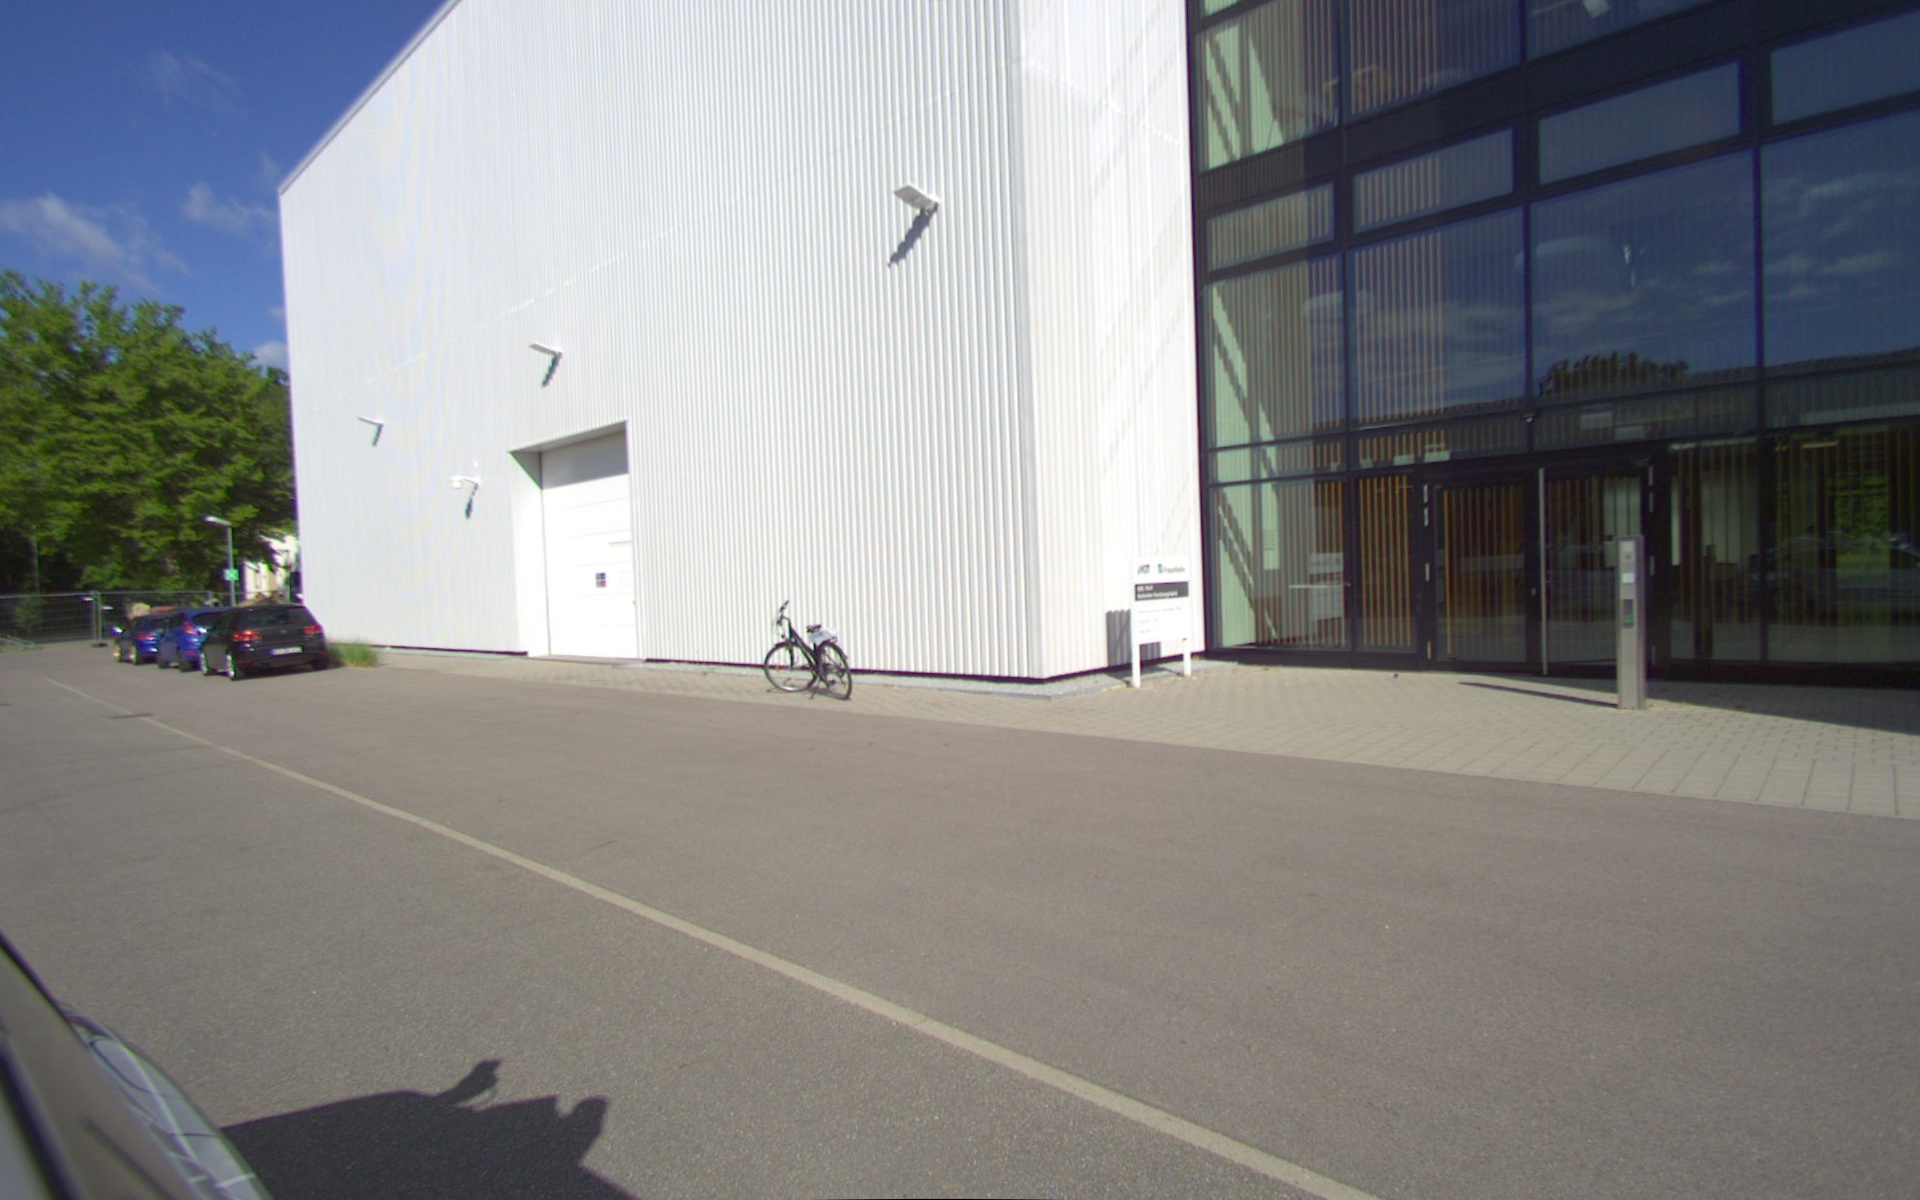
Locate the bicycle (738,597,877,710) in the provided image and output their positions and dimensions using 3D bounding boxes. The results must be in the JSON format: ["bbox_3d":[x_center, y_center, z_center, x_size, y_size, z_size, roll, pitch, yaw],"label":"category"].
[{"bbox_3d":[-1.874,0.586,12.175,0.895,1.151,1.905,-6,4,-32],"label":"bicycle"}]

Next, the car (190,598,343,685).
[{"bbox_3d":[-14.843,0.828,21.586,4.002,1.533,1.870,-1,4,45],"label":"car"}]

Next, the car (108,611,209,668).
[{"bbox_3d":[-22.834,1.085,28.777,4.002,1.451,1.765,-1,1,45],"label":"car"}]

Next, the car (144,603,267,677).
[{"bbox_3d":[-18.755,0.946,25.087,4.002,1.533,1.766,-1,4,45],"label":"car"}]
